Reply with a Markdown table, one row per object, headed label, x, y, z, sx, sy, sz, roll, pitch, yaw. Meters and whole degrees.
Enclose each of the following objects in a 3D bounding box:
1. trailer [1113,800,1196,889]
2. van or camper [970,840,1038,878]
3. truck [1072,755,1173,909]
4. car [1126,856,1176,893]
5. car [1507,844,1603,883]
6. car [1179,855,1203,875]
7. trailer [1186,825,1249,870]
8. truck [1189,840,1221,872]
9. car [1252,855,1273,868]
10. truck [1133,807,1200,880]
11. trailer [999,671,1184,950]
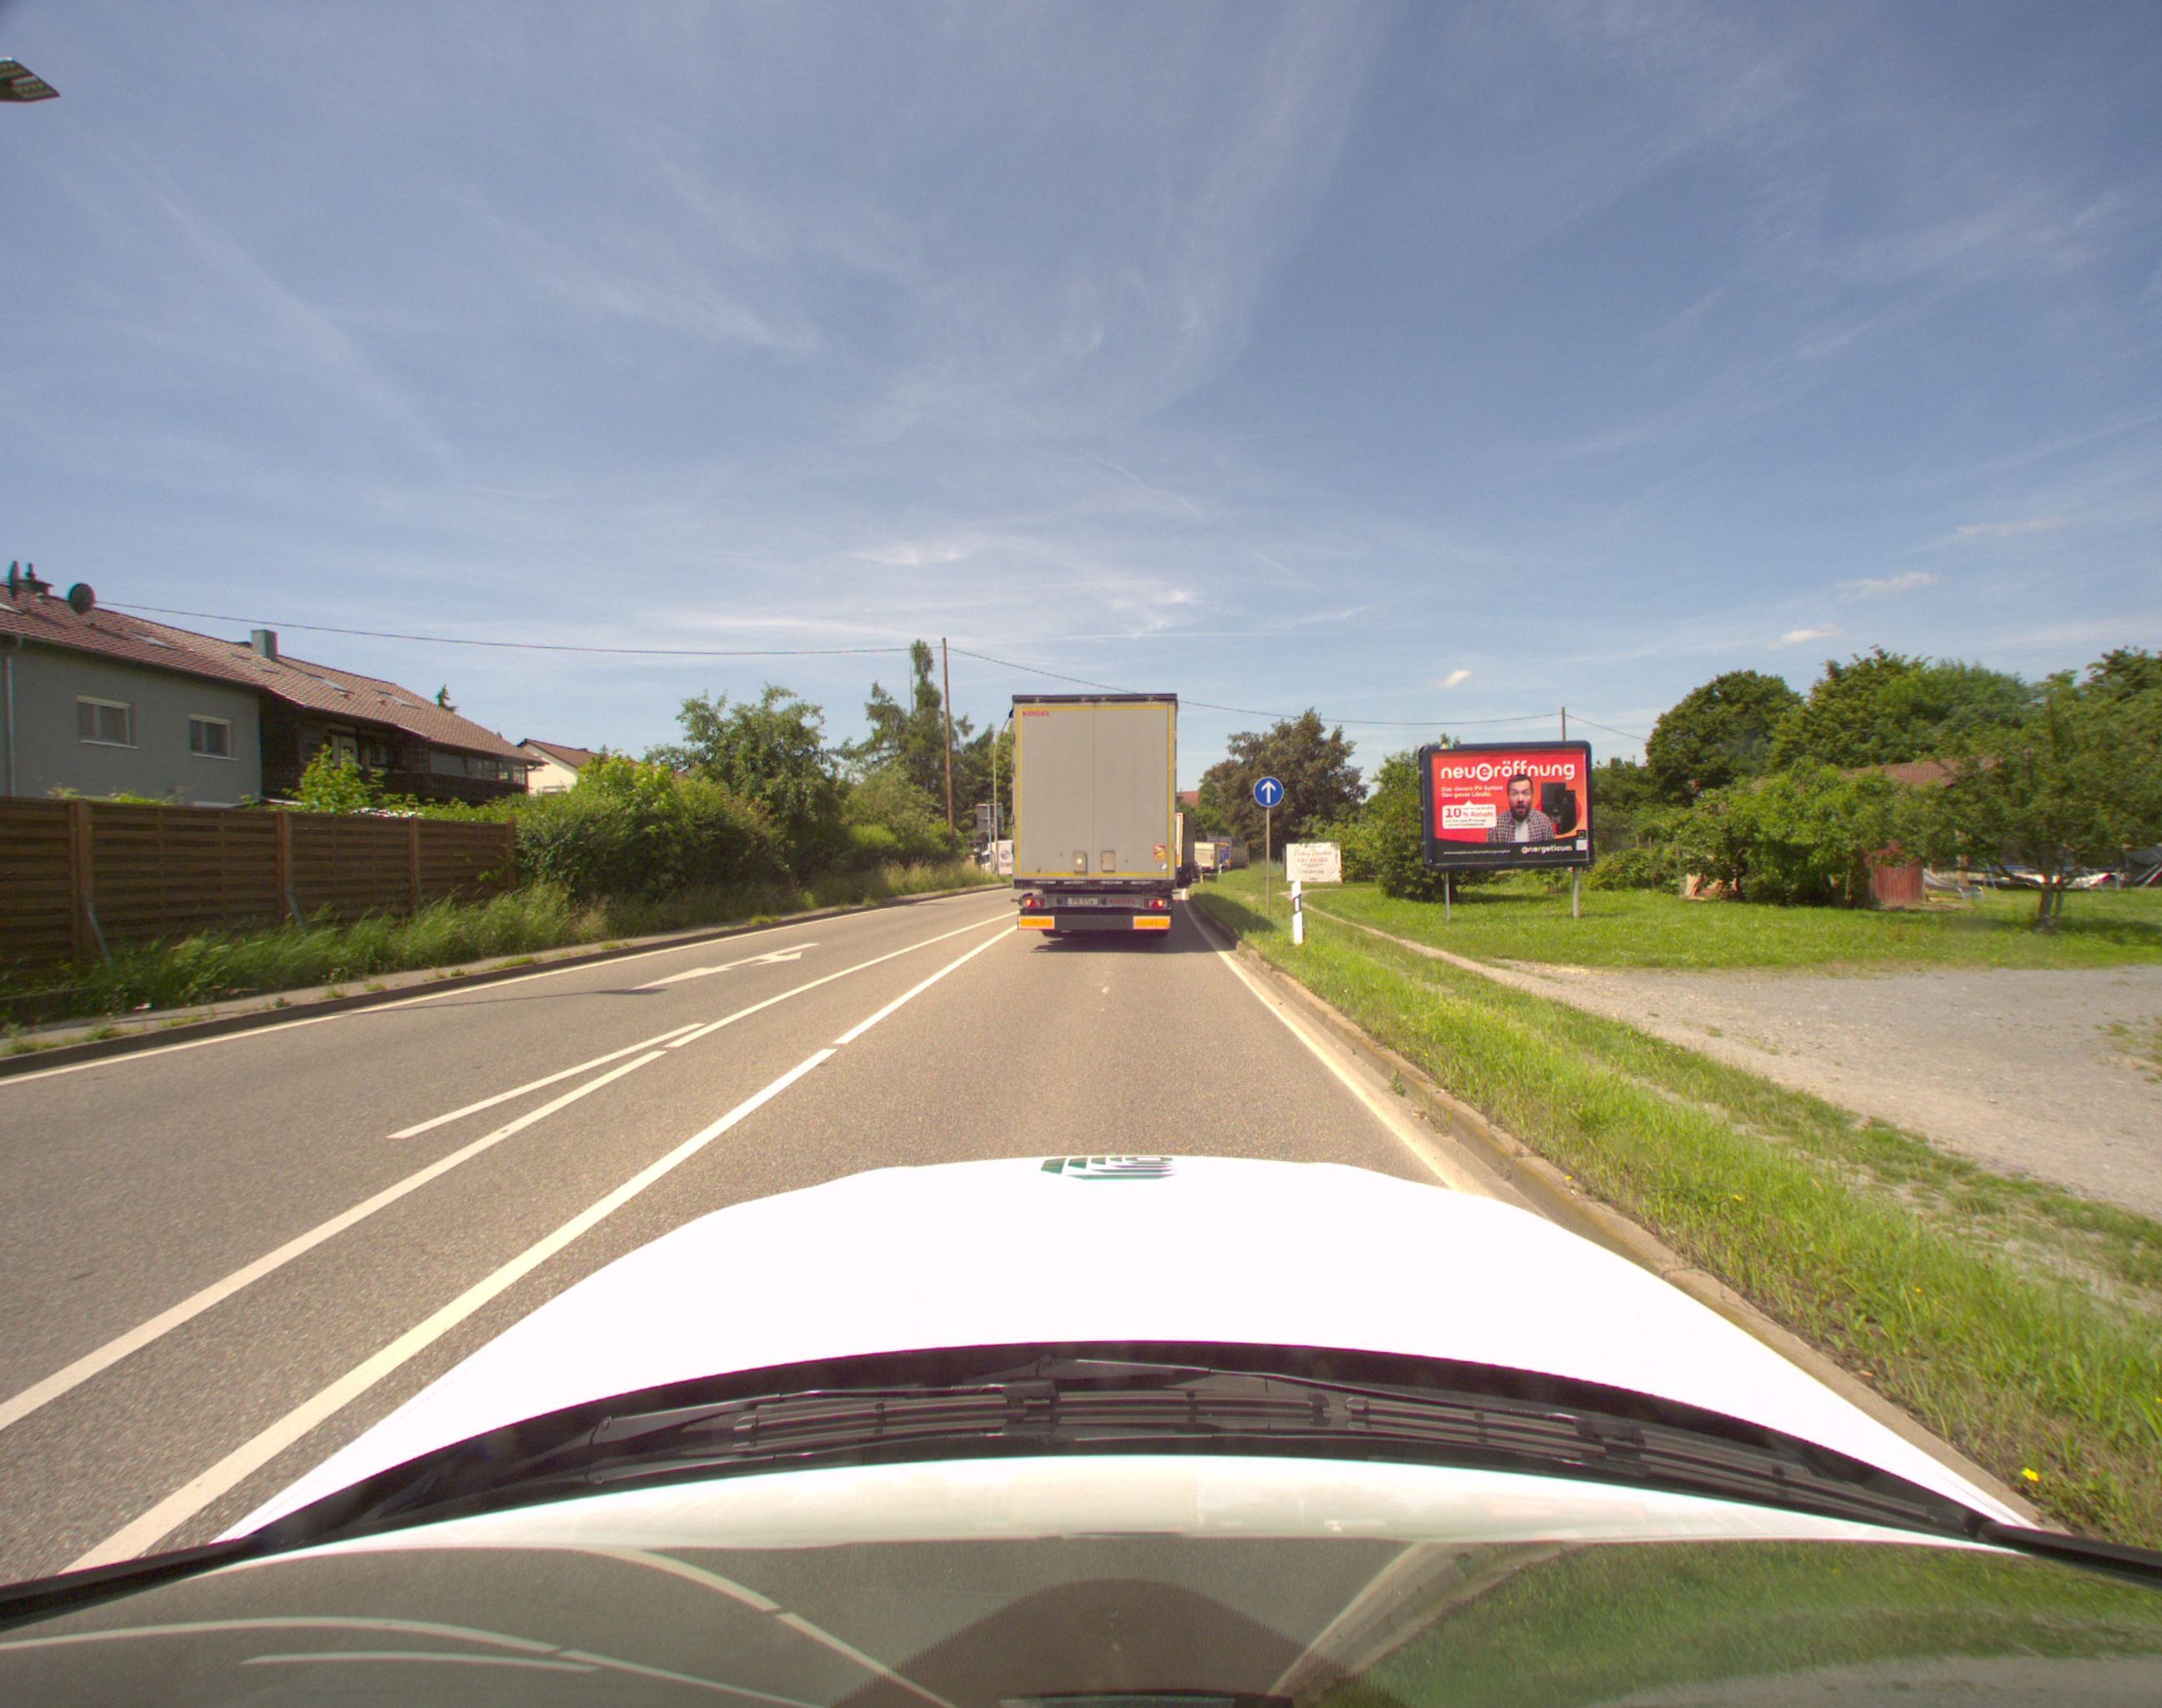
| label | x | y | z | sx | sy | sz | roll | pitch | yaw |
| --- | --- | --- | --- | --- | --- | --- | --- | --- | --- |
| trailer | 4.630 | -0.447 | 47.916 | 3.868 | 4.521 | 12.746 | -1 | 0 | 9 |
| van or camper | -5.723 | 0.340 | 60.229 | 4.853 | 2.715 | 2.191 | 0 | 0 | -8 |
| truck | 1.441 | -0.604 | 25.277 | 2.732 | 4.165 | 6.153 | 0 | 0 | 6 |
| car | 3.171 | 0.880 | 36.320 | 1.982 | 1.530 | 4.009 | 0 | 0 | 8 |
| car | 25.085 | 0.502 | 43.192 | 3.963 | 2.013 | 2.005 | 0 | 0 | 9 |
| car | 8.906 | 0.864 | 65.619 | 1.830 | 1.486 | 4.010 | 0 | 0 | 9 |
| trailer | 15.561 | -0.707 | 91.353 | 5.140 | 4.628 | 15.962 | 0 | 0 | 16 |
| truck | 11.453 | 0.157 | 75.086 | 2.403 | 2.838 | 5.433 | 0 | 0 | 14 |
| car | 25.215 | 1.055 | 113.002 | 1.975 | 1.684 | 4.023 | -1 | 0 | 26 |
| truck | 5.909 | -0.654 | 54.878 | 3.912 | 4.575 | 7.172 | -1 | 0 | 10 |
| trailer | 0.745 | -0.687 | 18.408 | 2.773 | 4.205 | 12.130 | 0 | 0 | 6 |
